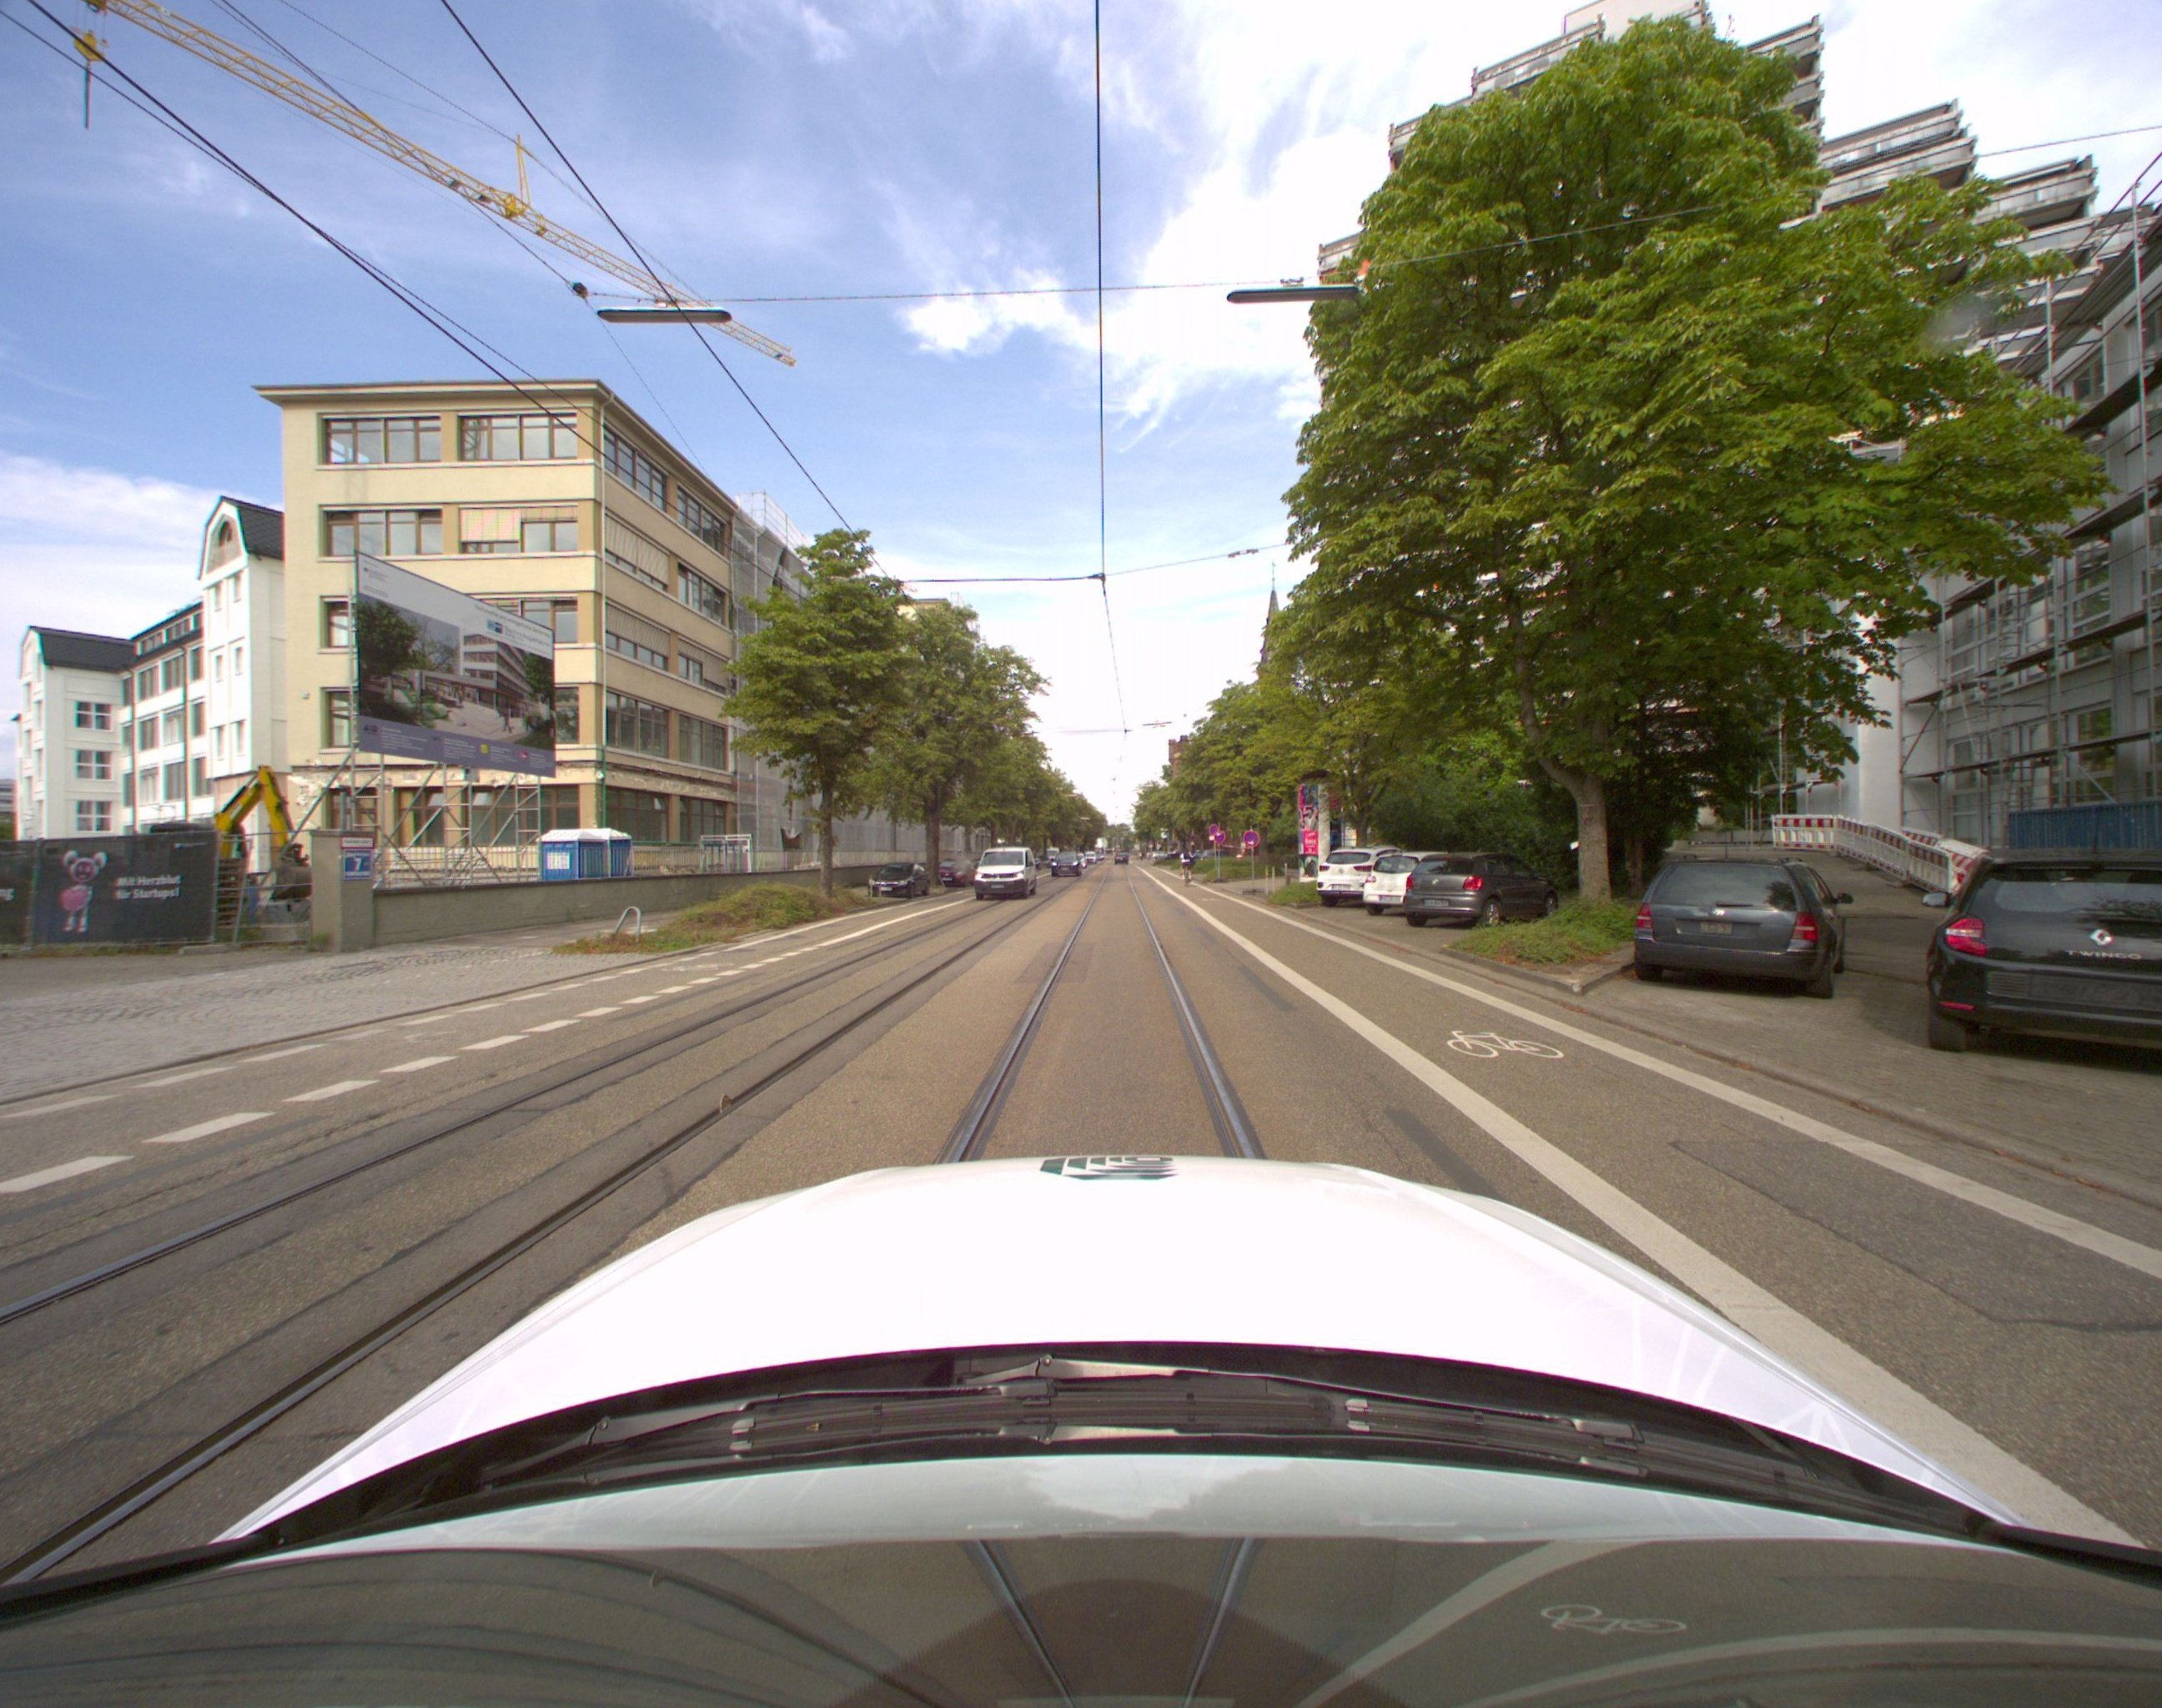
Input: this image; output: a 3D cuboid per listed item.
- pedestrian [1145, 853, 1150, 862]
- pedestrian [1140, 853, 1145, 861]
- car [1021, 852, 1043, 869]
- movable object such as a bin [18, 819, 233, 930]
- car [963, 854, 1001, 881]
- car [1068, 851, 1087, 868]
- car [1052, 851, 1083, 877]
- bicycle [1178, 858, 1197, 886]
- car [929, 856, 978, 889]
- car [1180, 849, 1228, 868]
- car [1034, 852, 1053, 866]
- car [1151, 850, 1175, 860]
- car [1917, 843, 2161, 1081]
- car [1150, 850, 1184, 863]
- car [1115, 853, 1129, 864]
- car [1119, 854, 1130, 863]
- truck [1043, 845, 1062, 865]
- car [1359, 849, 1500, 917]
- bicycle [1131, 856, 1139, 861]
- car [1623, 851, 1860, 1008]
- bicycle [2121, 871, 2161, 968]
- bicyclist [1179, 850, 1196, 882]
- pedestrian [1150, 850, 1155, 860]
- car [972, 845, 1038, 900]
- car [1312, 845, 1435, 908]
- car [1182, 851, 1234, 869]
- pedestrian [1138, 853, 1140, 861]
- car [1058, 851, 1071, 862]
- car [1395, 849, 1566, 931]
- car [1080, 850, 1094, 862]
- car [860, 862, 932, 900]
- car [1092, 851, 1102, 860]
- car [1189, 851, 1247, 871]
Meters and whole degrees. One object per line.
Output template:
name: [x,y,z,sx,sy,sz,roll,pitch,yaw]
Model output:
pedestrian: [12.004,0.683,147.009,0.723,1.646,0.767,0,0,4]
pedestrian: [12.598,0.632,166.786,0.721,1.646,0.769,0,0,12]
car: [-4.902,0.640,81.975,1.795,1.583,4.033,-2,0,2]
movable object such as a bin: [-18.972,0.391,16.267,1.977,2.067,1.963,-1,0,4]
car: [-6.269,0.822,52.056,1.795,1.583,4.033,-2,0,2]
car: [-0.326,0.522,84.322,1.795,1.622,4.486,-2,0,2]
car: [-0.891,0.670,55.941,1.795,1.622,4.486,-2,0,2]
bicycle: [4.933,0.808,37.845,0.655,1.249,2.125,0,0,1]
car: [-6.722,0.949,43.189,1.795,1.583,4.033,-2,0,2]
car: [11.022,0.368,73.248,3.975,1.627,1.884,-1,0,-1]
car: [-4.277,0.576,93.374,1.795,1.583,4.033,-2,0,2]
car: [14.552,0.167,145.030,3.975,1.910,1.999,0,0,-1]
car: [8.089,0.689,6.683,3.760,1.522,1.620,0,0,-43]
car: [10.419,0.269,98.928,3.975,1.508,1.884,-1,0,-1]
car: [5.441,0.537,108.780,1.786,1.423,4.002,0,0,2]
car: [6.979,0.703,130.352,1.786,1.470,4.004,1,0,3]
truck: [-3.671,0.081,106.409,2.063,2.470,4.901,-2,0,2]
car: [8.278,0.617,19.258,3.463,1.442,1.543,-1,0,-37]
bicycle: [11.061,0.947,167.158,1.709,0.991,0.660,0,0,11]
car: [7.765,0.703,9.456,3.760,1.458,1.620,0,0,-43]
bicycle: [13.616,0.744,9.354,1.947,1.128,0.542,-2,-1,32]
bicyclist: [4.930,0.562,37.814,0.655,1.463,1.179,0,0,1]
pedestrian: [12.109,0.222,137.751,0.723,1.646,0.767,0,0,4]
car: [-2.665,0.622,29.620,1.795,1.823,4.486,-2,0,2]
car: [8.067,0.566,22.368,3.463,1.573,1.543,-1,0,-37]
car: [10.545,0.500,67.853,3.975,1.425,1.884,-1,0,-1]
pedestrian: [14.500,0.840,204.069,0.515,2.013,0.480,0,0,6]
car: [-2.660,0.385,132.130,1.795,1.583,4.033,-2,0,2]
car: [7.995,0.637,16.212,3.551,1.442,1.606,-1,0,-37]
car: [0.842,0.324,117.388,1.795,1.622,4.486,-2,0,2]
car: [-7.366,1.039,32.806,1.795,1.374,4.033,-2,0,2]
car: [3.168,0.222,155.975,1.795,1.622,4.486,-2,0,2]
car: [10.224,0.541,60.954,3.975,1.425,1.884,-1,0,-1]
